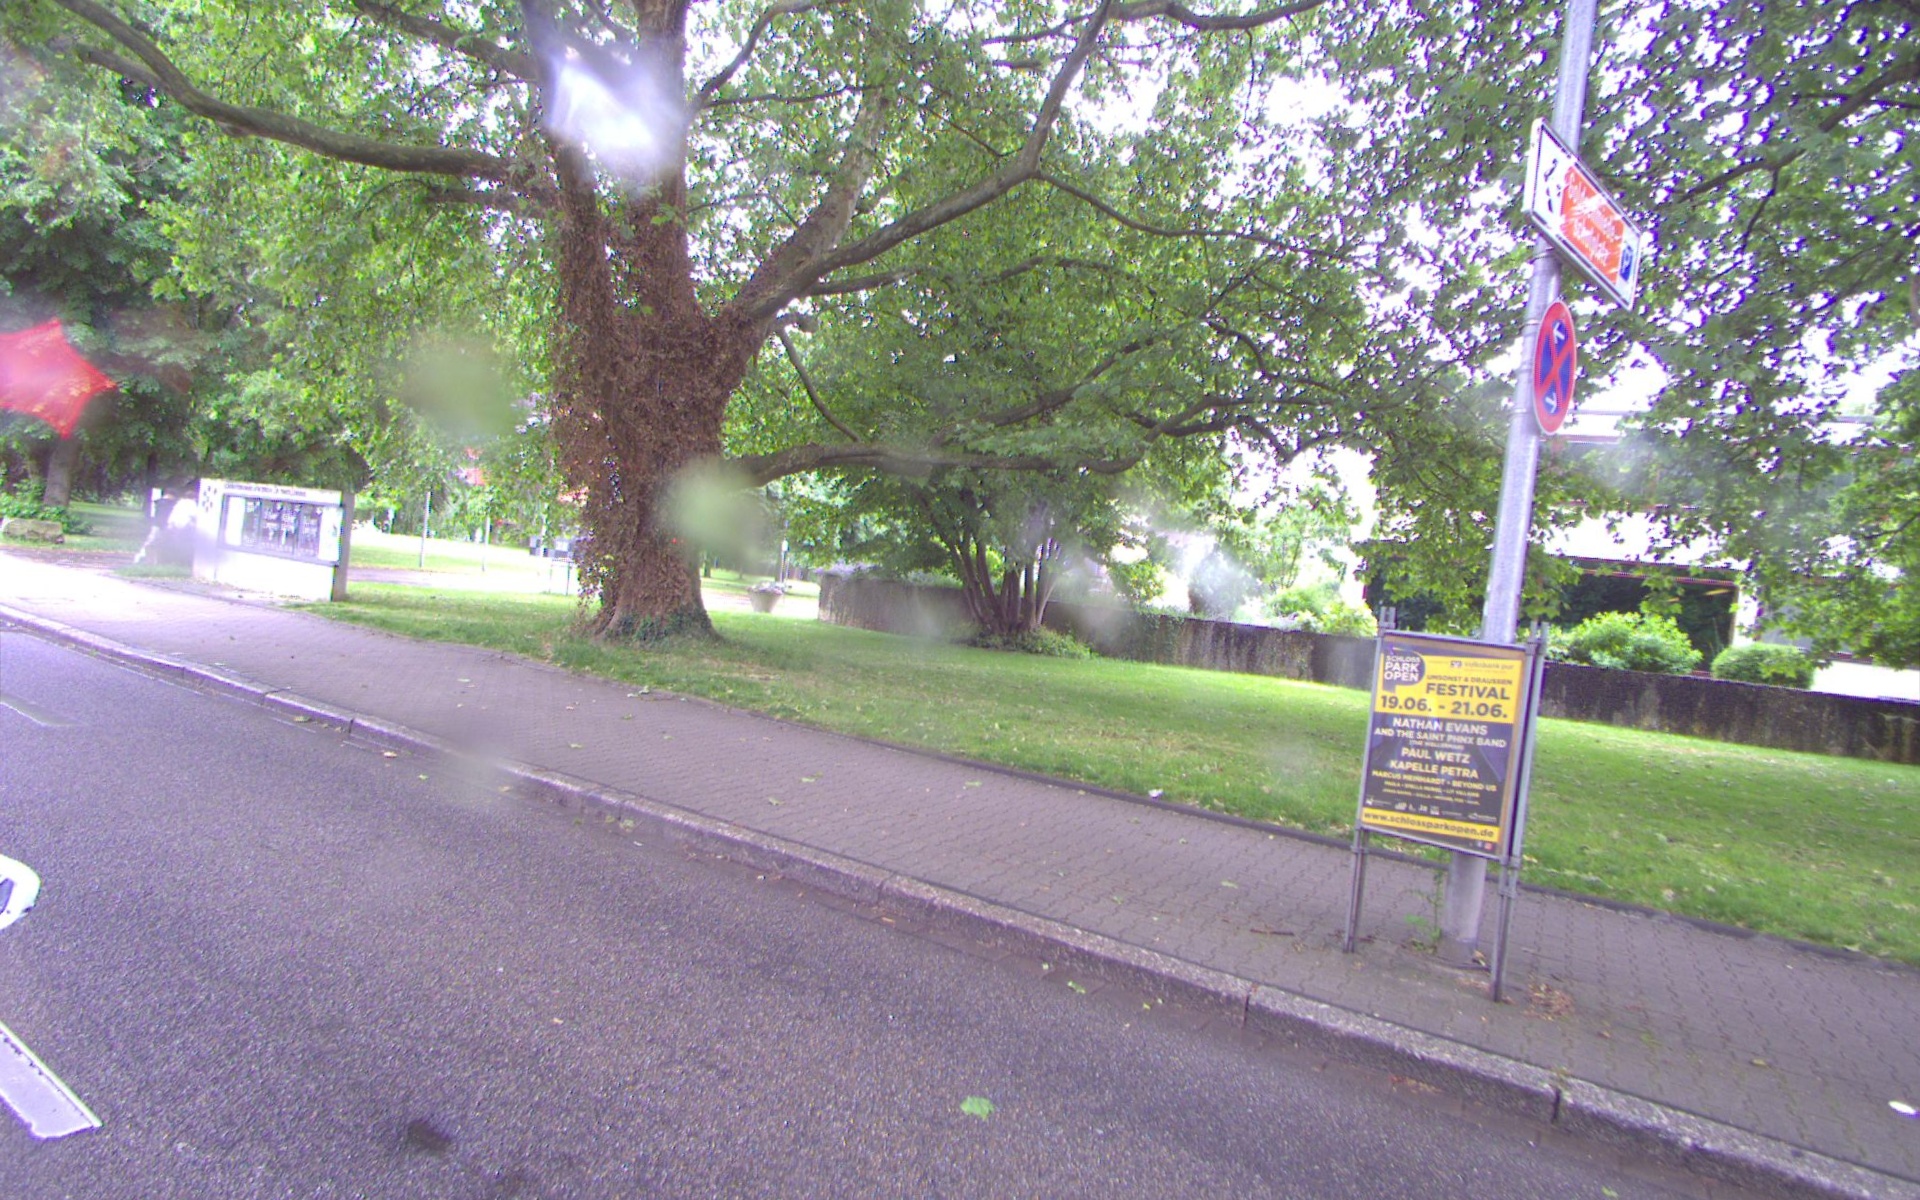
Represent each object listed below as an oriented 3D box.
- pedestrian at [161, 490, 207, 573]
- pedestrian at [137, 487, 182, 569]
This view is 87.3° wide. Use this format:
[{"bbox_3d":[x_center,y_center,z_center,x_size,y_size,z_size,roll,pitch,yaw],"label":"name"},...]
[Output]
[{"bbox_3d":[-17.110,-1.514,22.181,0.550,1.744,0.504,7,2,25],"label":"pedestrian"},{"bbox_3d":[-17.773,-1.595,22.343,0.550,1.744,0.485,7,2,25],"label":"pedestrian"}]
